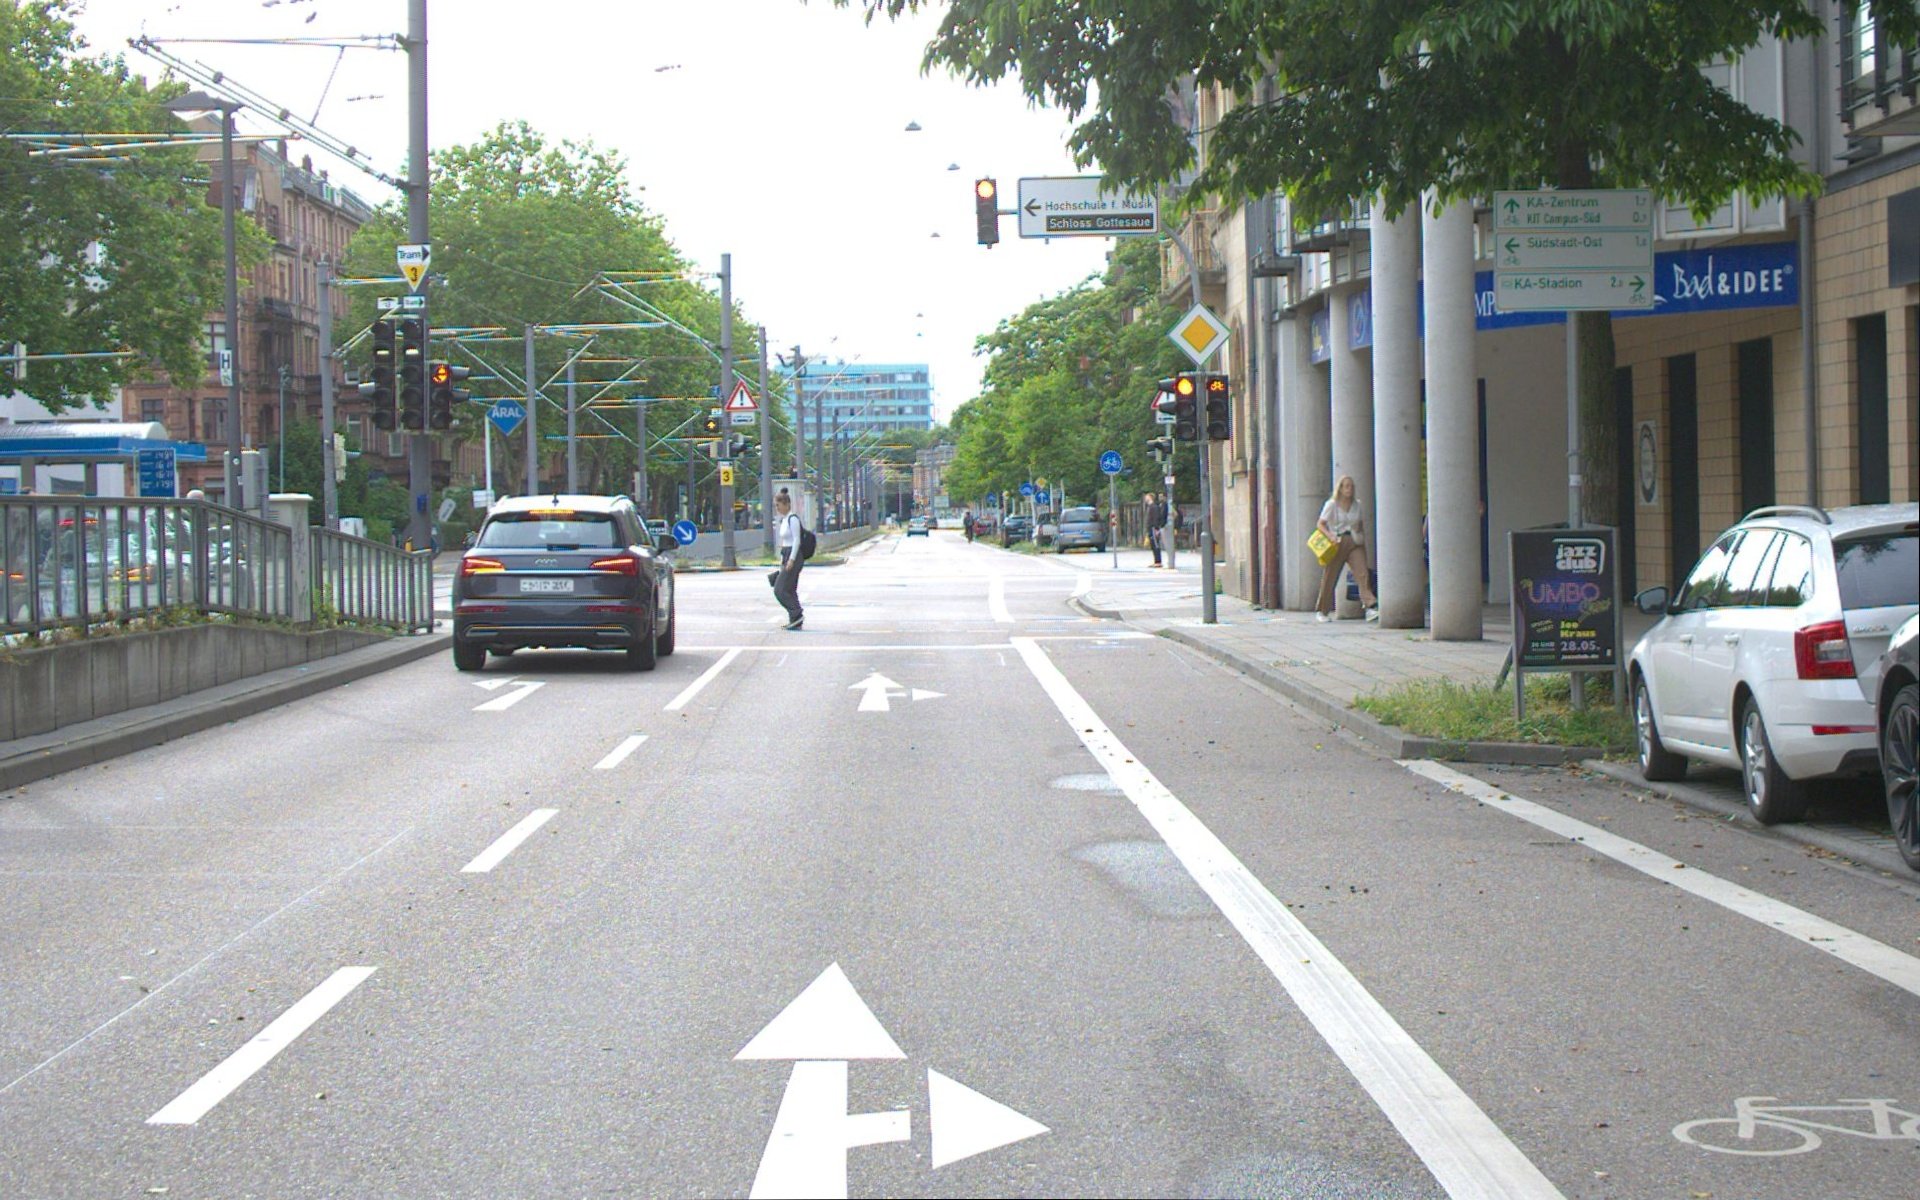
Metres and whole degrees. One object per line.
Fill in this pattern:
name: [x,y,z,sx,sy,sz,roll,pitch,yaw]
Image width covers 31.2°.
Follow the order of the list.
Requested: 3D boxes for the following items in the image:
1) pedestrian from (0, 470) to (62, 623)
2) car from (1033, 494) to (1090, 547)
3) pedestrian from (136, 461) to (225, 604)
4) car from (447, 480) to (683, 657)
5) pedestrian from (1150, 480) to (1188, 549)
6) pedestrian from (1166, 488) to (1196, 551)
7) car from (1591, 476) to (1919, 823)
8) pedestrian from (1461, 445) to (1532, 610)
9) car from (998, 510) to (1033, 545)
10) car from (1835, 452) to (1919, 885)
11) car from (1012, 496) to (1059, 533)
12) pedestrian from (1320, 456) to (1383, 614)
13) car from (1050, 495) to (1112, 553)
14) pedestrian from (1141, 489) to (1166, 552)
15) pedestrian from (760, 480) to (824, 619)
pedestrian: [-11.145,-0.630,40.333,1.130,1.772,0.628,-1,1,-18]
car: [3.895,-3.054,132.057,1.993,2.007,4.000,1,1,-1]
pedestrian: [-9.859,-0.858,43.469,0.917,1.778,0.646,1,2,37]
car: [-3.750,-0.339,33.277,1.880,1.596,4.358,0,1,-1]
pedestrian: [5.047,-2.066,83.078,0.850,1.648,0.508,0,1,-2]
pedestrian: [5.409,-1.976,84.256,0.653,1.531,0.466,0,1,-5]
car: [4.488,0.147,17.565,1.676,1.493,4.390,-3,1,1]
pedestrian: [6.219,-0.843,39.843,0.675,1.884,0.737,-1,1,1]
car: [3.301,-4.326,204.980,1.993,2.007,4.000,1,1,-1]
car: [4.665,0.257,12.122,1.711,1.711,4.712,-3,1,-2]
car: [3.514,-3.999,160.859,1.993,1.602,4.164,-2,1,-1]
pedestrian: [4.540,-0.759,39.901,0.615,1.799,0.737,-1,1,1]
car: [4.299,-2.706,122.627,1.993,2.007,4.000,1,1,-1]
pedestrian: [4.786,-1.965,84.933,0.545,1.531,0.466,0,1,-5]
pedestrian: [-2.026,-0.610,41.504,0.728,1.656,0.756,1,1,-1]
